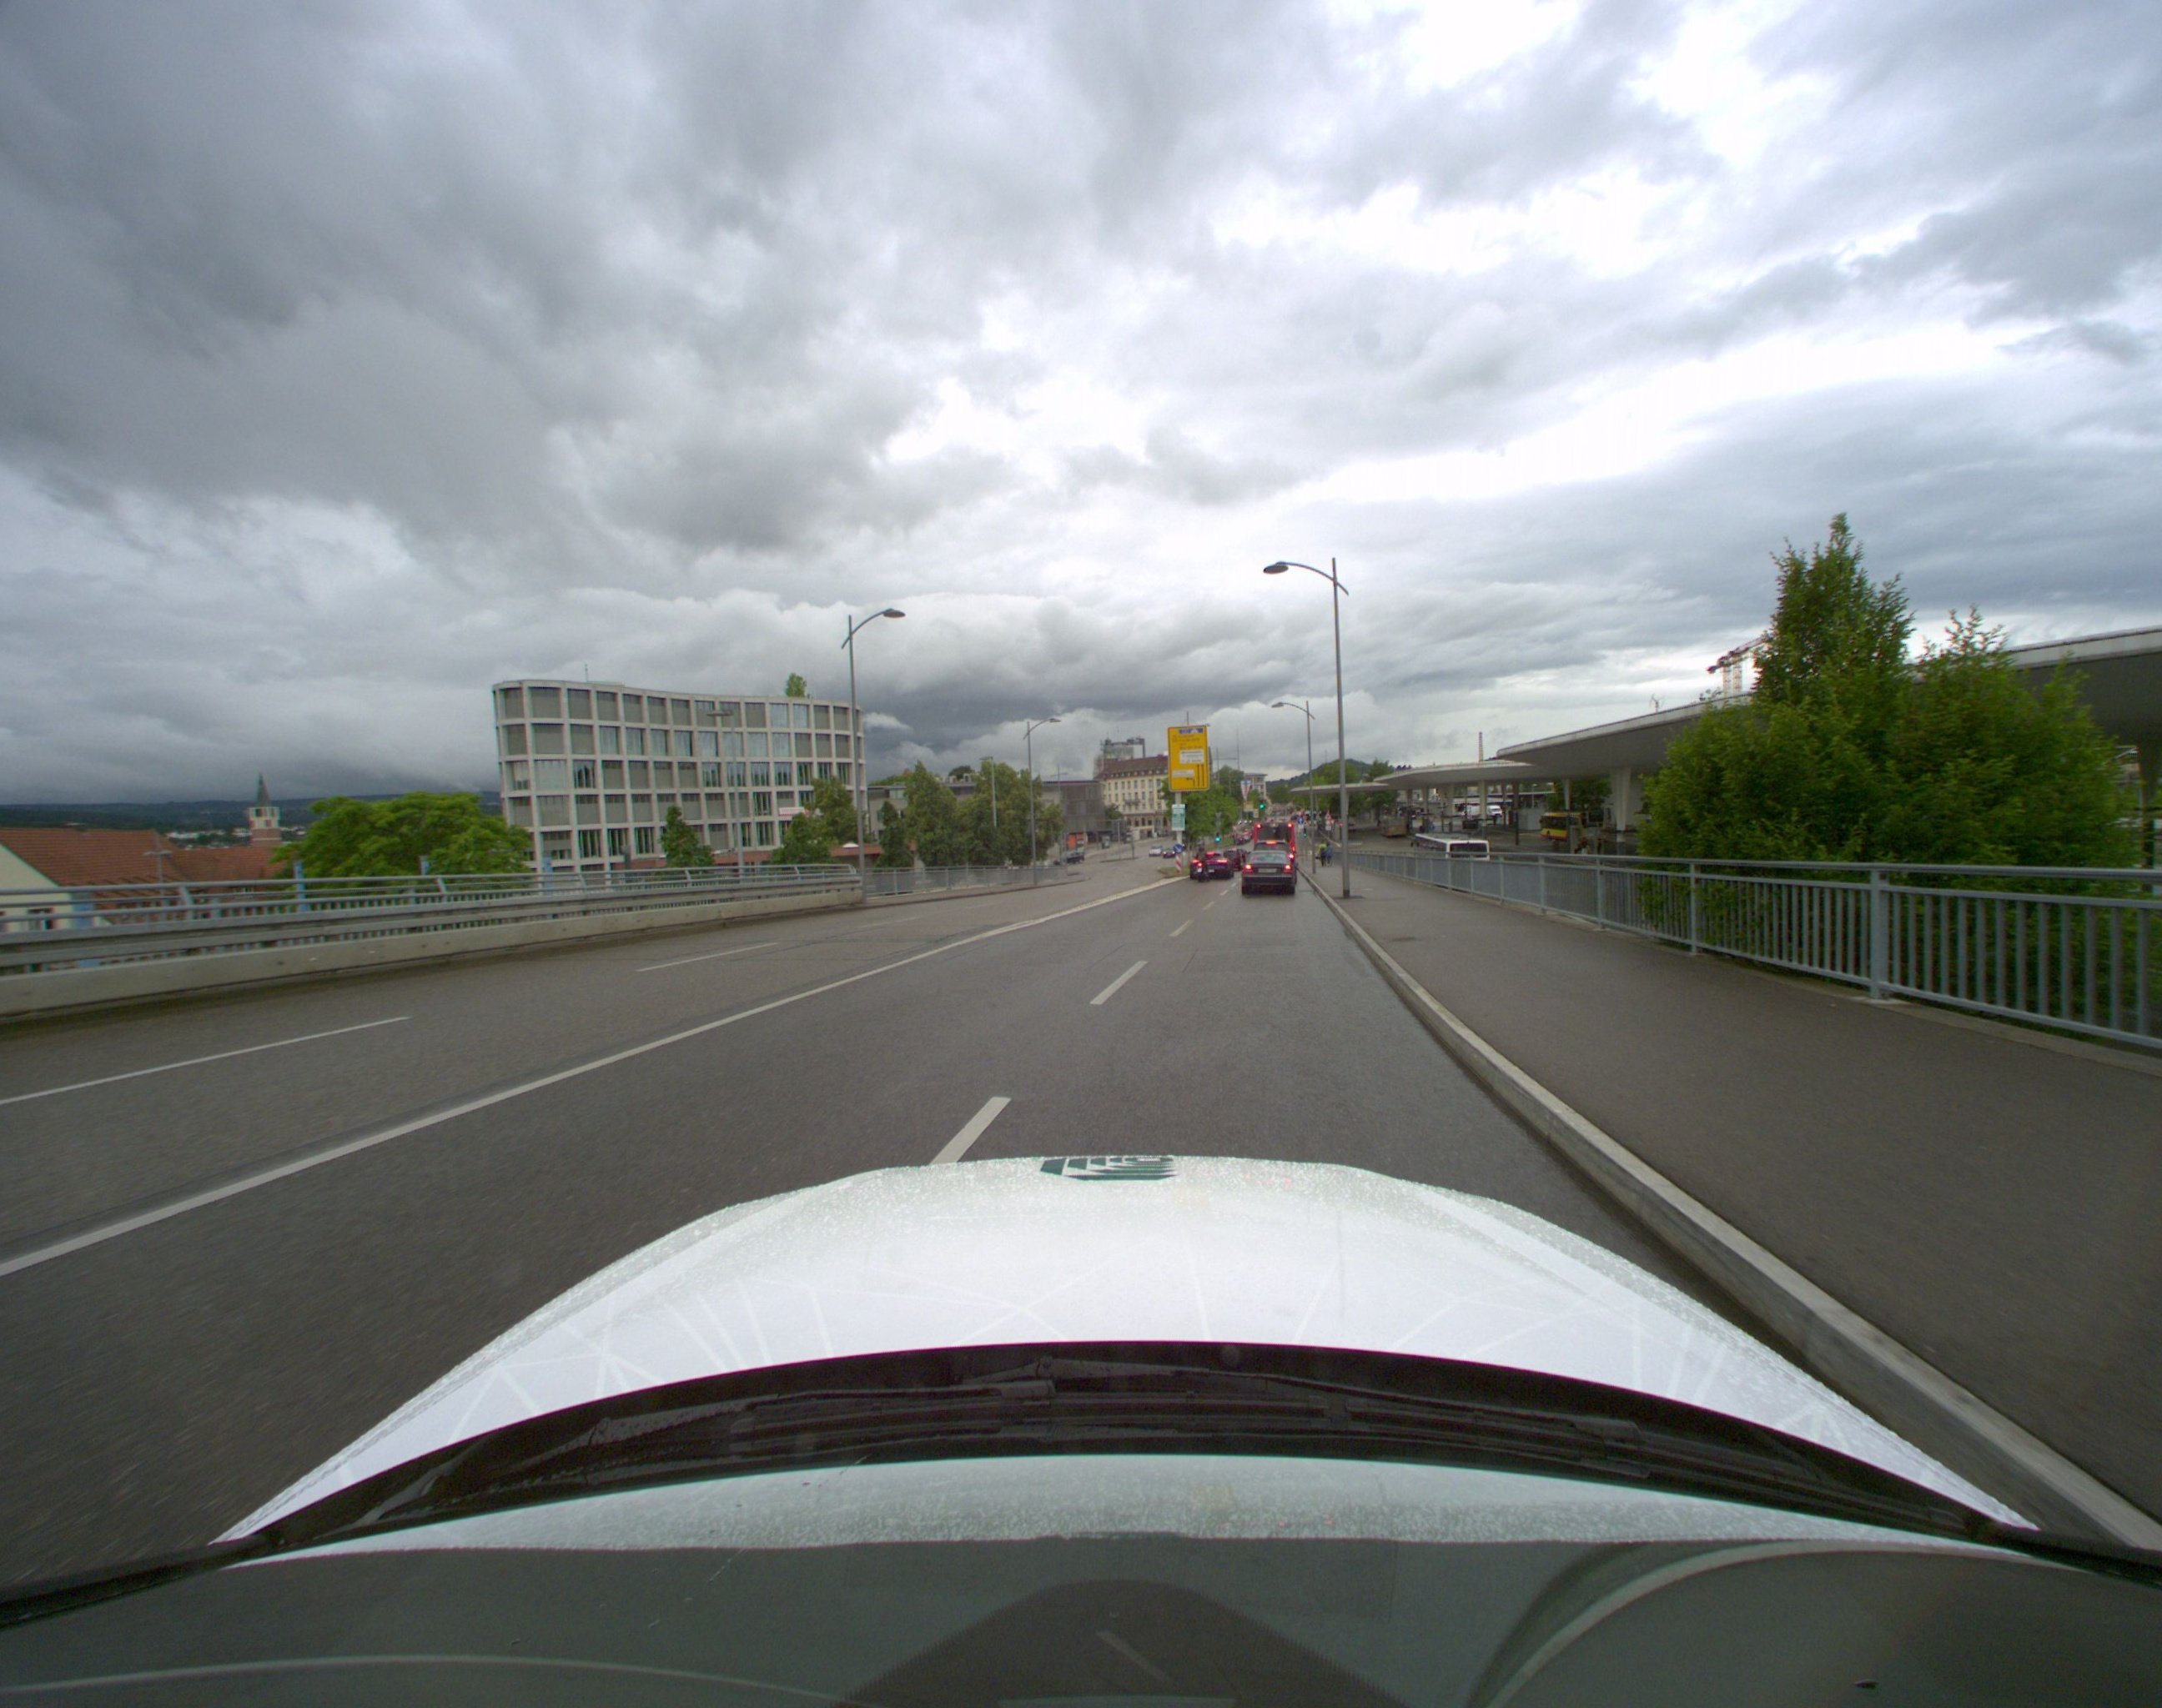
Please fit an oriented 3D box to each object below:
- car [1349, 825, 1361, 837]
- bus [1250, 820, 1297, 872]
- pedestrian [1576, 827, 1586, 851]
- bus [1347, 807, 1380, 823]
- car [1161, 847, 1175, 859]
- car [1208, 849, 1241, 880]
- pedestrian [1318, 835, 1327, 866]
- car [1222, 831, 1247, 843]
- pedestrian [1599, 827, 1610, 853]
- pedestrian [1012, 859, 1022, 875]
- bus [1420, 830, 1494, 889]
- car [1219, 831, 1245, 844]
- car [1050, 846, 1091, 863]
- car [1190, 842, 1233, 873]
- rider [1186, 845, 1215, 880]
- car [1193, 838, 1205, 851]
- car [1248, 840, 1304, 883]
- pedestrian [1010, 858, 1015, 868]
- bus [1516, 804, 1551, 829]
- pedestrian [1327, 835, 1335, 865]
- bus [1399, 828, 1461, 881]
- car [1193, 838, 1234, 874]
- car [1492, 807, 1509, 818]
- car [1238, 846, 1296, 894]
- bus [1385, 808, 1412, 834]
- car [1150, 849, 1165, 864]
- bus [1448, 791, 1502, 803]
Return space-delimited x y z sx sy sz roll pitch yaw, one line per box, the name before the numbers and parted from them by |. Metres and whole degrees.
car | 50.159 -4.191 148.983 1.977 2.013 4.020 -2 1 19
bus | 13.131 -0.577 55.492 2.807 3.189 10.348 -1 1 14
pedestrian | 41.774 -1.250 68.070 0.540 2.013 0.582 -2 0 14
bus | 69.063 -9.570 199.194 7.153 3.396 3.091 -2 2 10
car | 11.928 -0.179 111.711 1.823 1.526 4.603 -3 0 6
car | 9.750 0.672 55.107 1.980 2.006 4.015 0 1 13
pedestrian | 16.022 -0.243 54.063 0.486 2.014 0.471 -2 -2 16
car | 26.703 -2.979 141.278 3.955 2.013 2.010 -2 1 18
pedestrian | 40.446 -1.083 62.933 0.479 2.013 0.563 -2 0 7
pedestrian | -5.701 1.159 72.171 0.643 1.408 0.533 -2 2 16
bus | 24.107 0.248 52.582 2.629 3.235 7.095 0 4 10
car | 25.082 -2.704 135.224 3.955 2.013 2.010 -2 1 18
car | -1.487 0.082 115.832 5.649 2.013 1.980 -4 1 -32
car | 6.510 0.131 40.334 1.747 1.436 4.016 0 1 14
rider | 5.322 0.354 36.116 0.873 1.472 2.207 0 1 20
car | 20.868 -1.658 143.984 1.983 2.014 4.211 -2 -1 7
car | 8.343 0.270 34.665 1.811 1.687 4.021 0 1 21
pedestrian | -6.053 0.764 72.286 0.298 0.873 0.300 -2 2 16
bus | 62.096 -5.177 111.824 2.580 3.209 7.024 -2 2 16
pedestrian | 16.562 -0.256 53.942 0.420 2.014 0.485 -2 -2 16
bus | 25.413 -0.047 59.609 2.629 3.235 7.095 -2 4 11
car | 7.824 0.096 47.755 1.979 2.006 4.016 0 1 15
car | 83.004 -8.267 161.121 1.979 2.013 4.016 -2 2 13
car | 6.201 0.474 26.931 1.693 1.419 3.741 0 1 15
bus | 47.832 -4.835 122.974 3.152 3.600 10.561 -2 1 19
car | 11.278 0.384 120.102 1.983 2.013 4.007 -3 0 6
bus | 84.064 -12.138 173.777 10.103 2.013 2.177 -2 1 11
